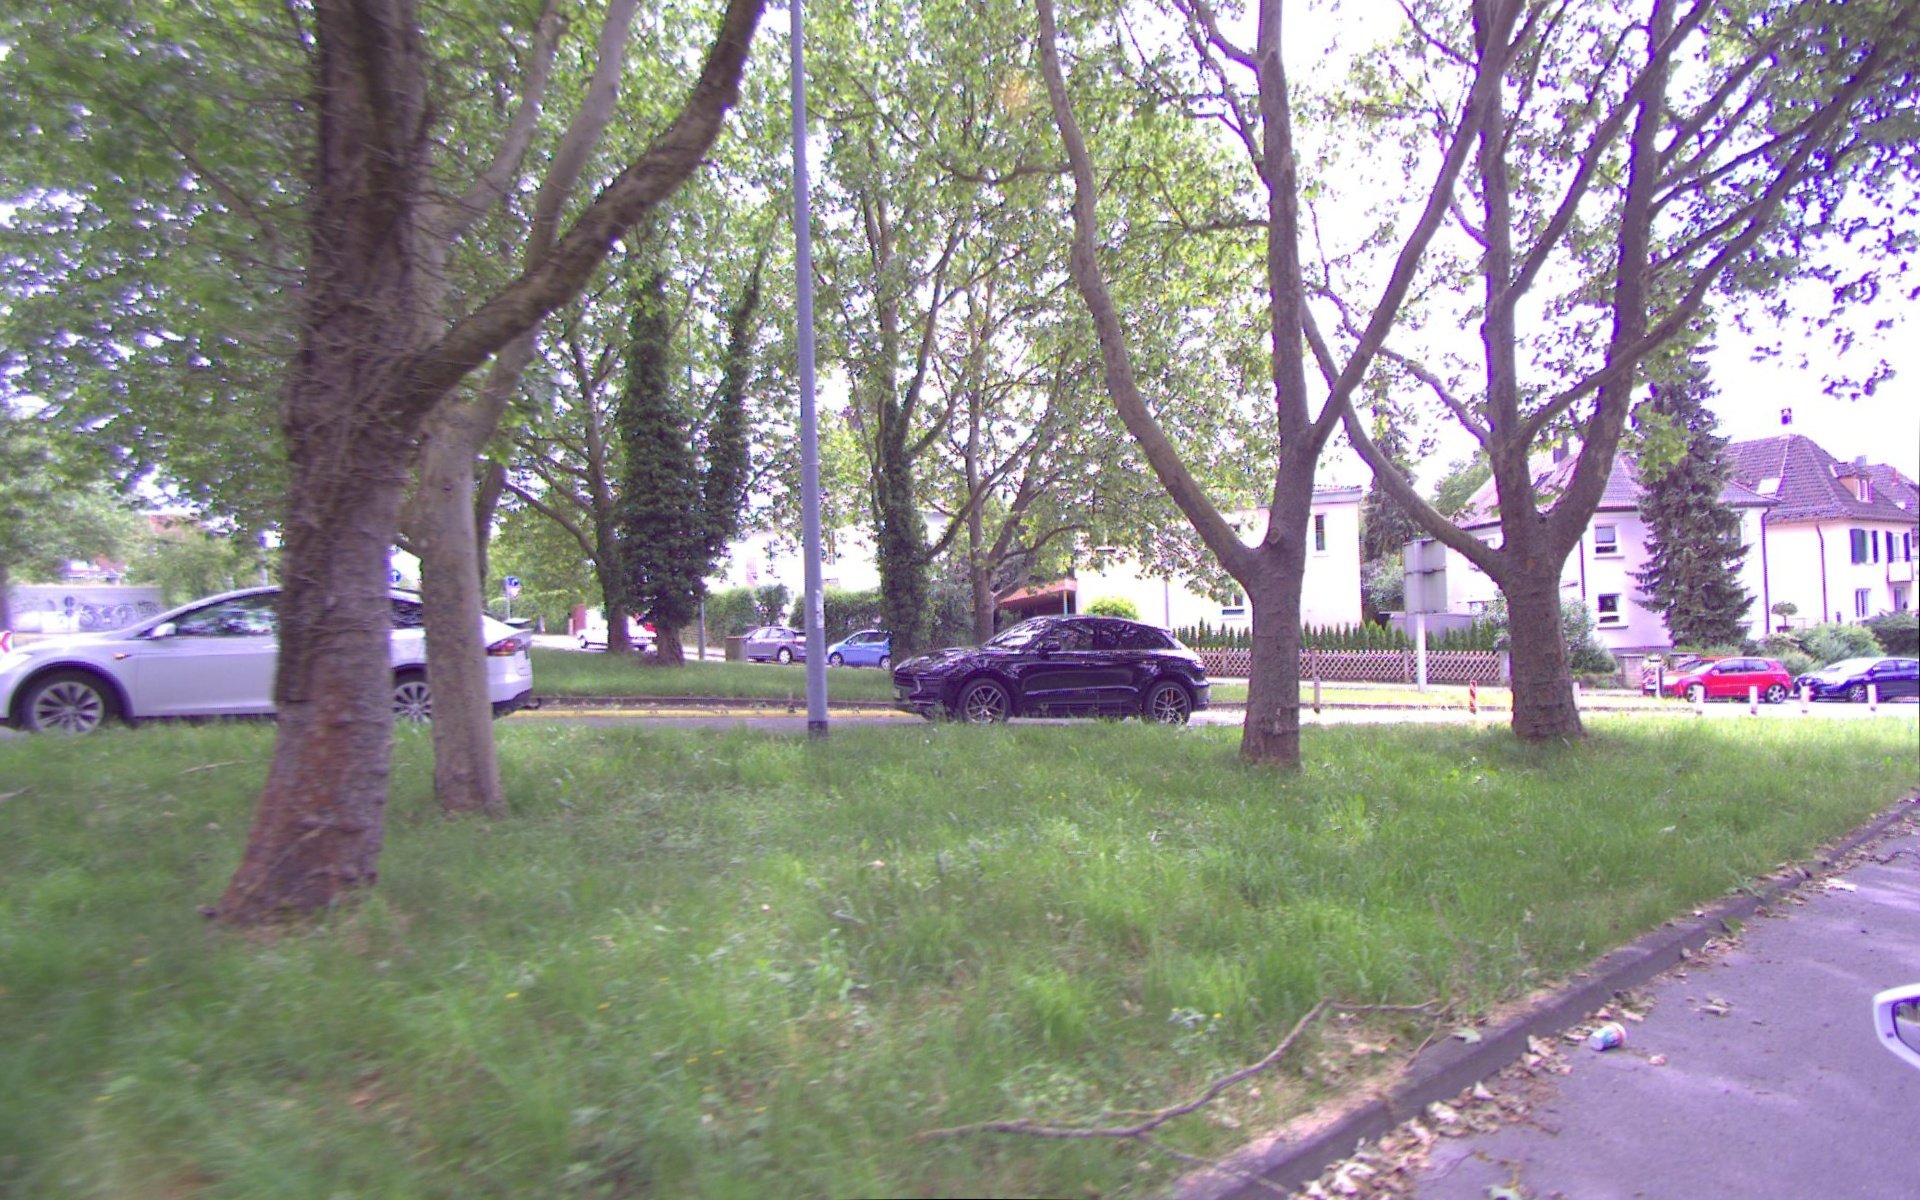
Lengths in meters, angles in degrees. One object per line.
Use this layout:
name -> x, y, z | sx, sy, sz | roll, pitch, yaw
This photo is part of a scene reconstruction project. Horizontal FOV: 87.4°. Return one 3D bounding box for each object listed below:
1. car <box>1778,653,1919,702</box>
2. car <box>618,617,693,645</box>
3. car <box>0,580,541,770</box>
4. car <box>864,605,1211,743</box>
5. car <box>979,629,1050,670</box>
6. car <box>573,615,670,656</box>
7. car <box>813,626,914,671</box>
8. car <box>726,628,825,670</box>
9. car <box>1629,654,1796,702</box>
car -> 29.638, 2.526, 33.016 | 4.232, 1.493, 1.732 | 0, -2, -4
car -> -17.197, 1.745, 56.842 | 3.798, 1.537, 1.589 | 2, -2, -44
car -> -7.255, 0.707, 10.972 | 4.833, 1.680, 1.849 | -2, -1, -21
car -> 1.094, 0.943, 14.157 | 4.544, 1.612, 1.754 | -1, -1, -21
car -> 2.381, 2.087, 43.149 | 1.841, 1.568, 3.377 | -3, -1, 25
car -> -16.417, 1.723, 48.642 | 4.808, 1.815, 2.207 | -2, -1, 38
car -> -3.912, 1.930, 40.672 | 3.707, 1.576, 1.782 | 1, 1, 24
car -> -7.814, 2.050, 42.553 | 3.923, 1.534, 1.659 | 1, 1, 27
car -> 24.721, 2.552, 33.100 | 4.194, 1.493, 1.733 | 0, -2, 1
